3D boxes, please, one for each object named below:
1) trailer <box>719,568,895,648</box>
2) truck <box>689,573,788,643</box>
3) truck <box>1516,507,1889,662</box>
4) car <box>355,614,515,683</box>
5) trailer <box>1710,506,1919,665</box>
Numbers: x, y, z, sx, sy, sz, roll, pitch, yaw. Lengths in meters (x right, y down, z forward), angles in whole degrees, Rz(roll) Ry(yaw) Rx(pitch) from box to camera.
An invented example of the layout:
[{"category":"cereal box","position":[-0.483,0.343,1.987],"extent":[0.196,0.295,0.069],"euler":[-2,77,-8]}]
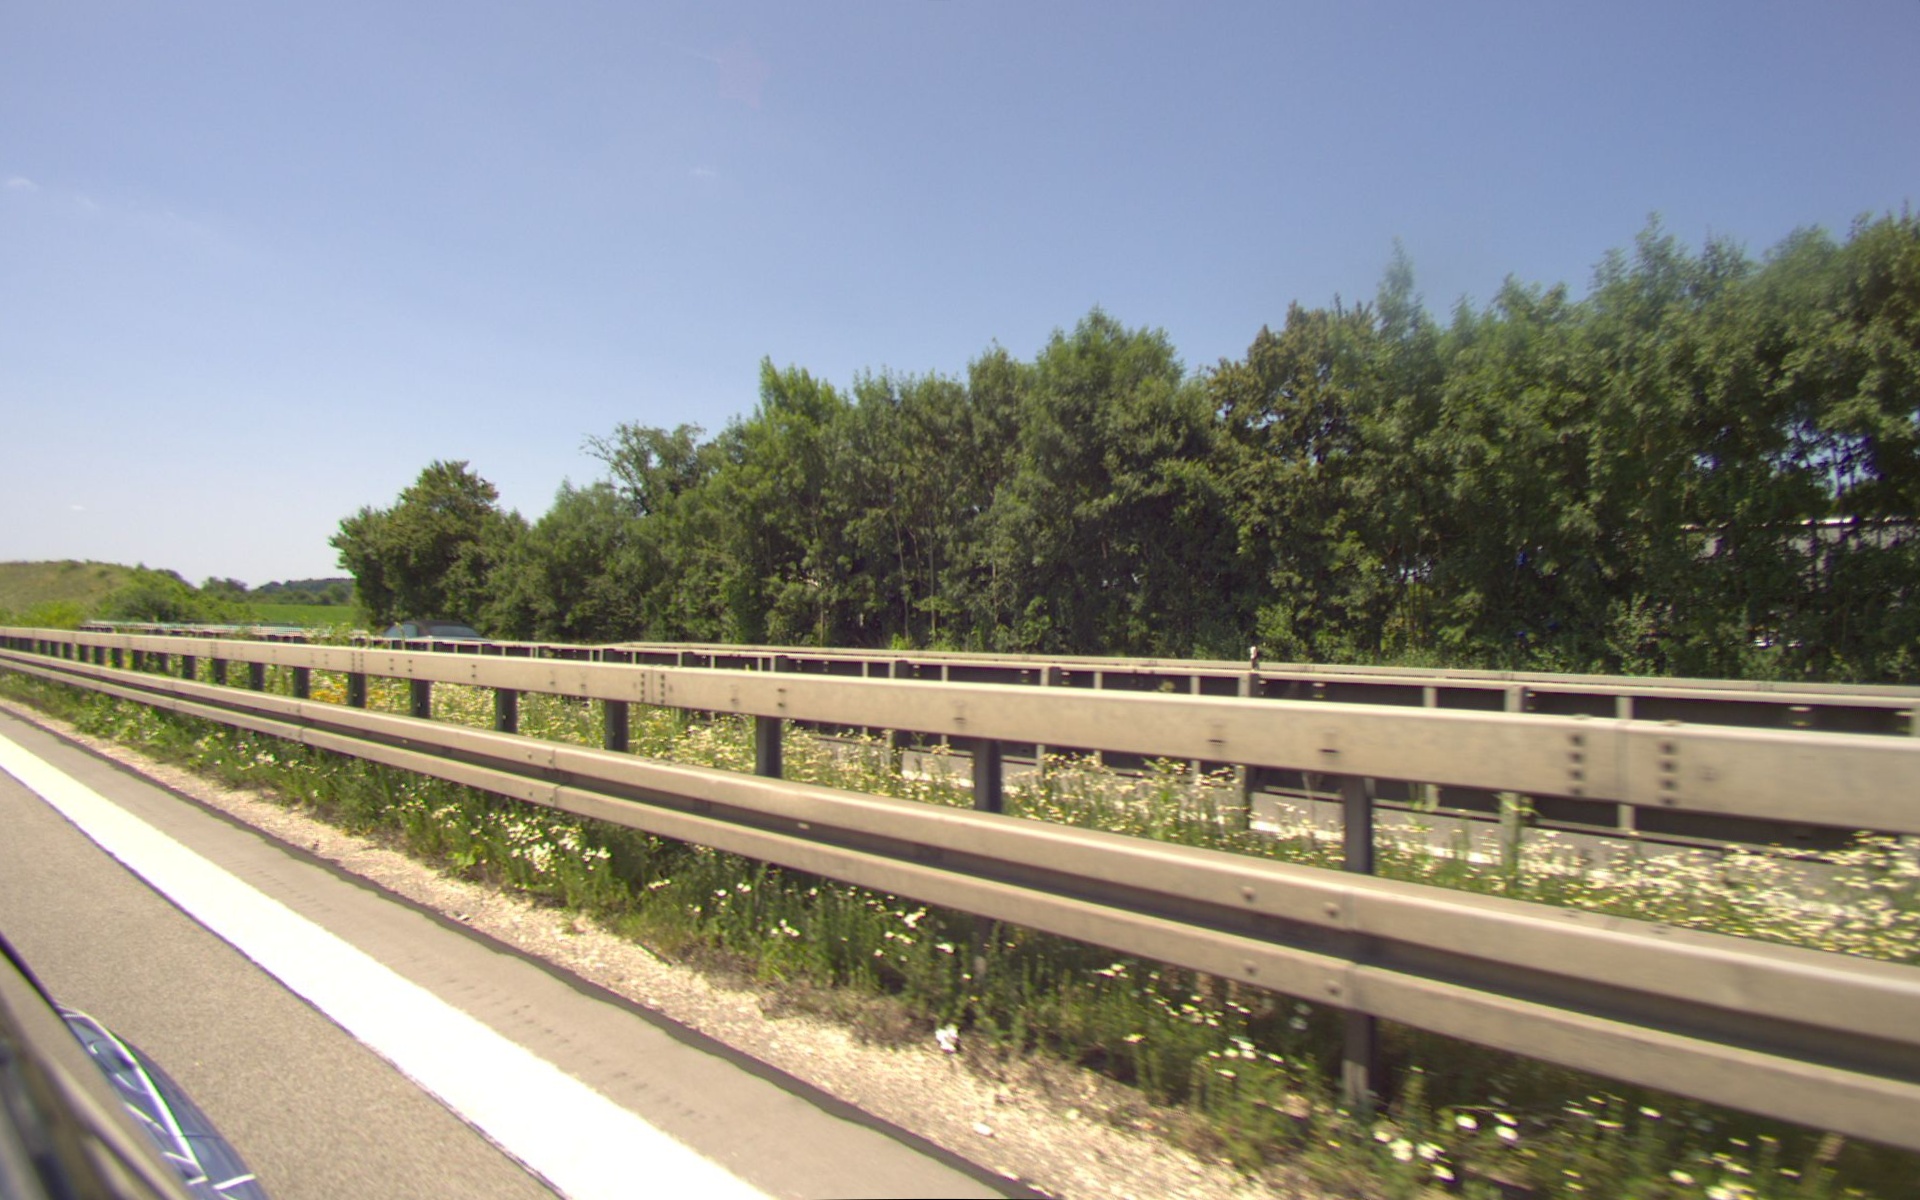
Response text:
[{"category":"trailer","position":[-7.892,0.391,50.593],"extent":[11.101,3.628,1.973],"euler":[0,0,41]},{"category":"truck","position":[-11.885,0.410,54.105],"extent":[6.019,3.590,1.973],"euler":[0,0,41]},{"category":"truck","position":[19.695,-0.358,27.377],"extent":[7.898,3.675,1.973],"euler":[0,0,41]},{"category":"car","position":[-11.562,0.998,22.178],"extent":[3.998,1.320,1.781],"euler":[0,0,41]},{"category":"trailer","position":[25.078,-0.357,22.692],"extent":[13.178,3.724,1.973],"euler":[0,0,41]}]
